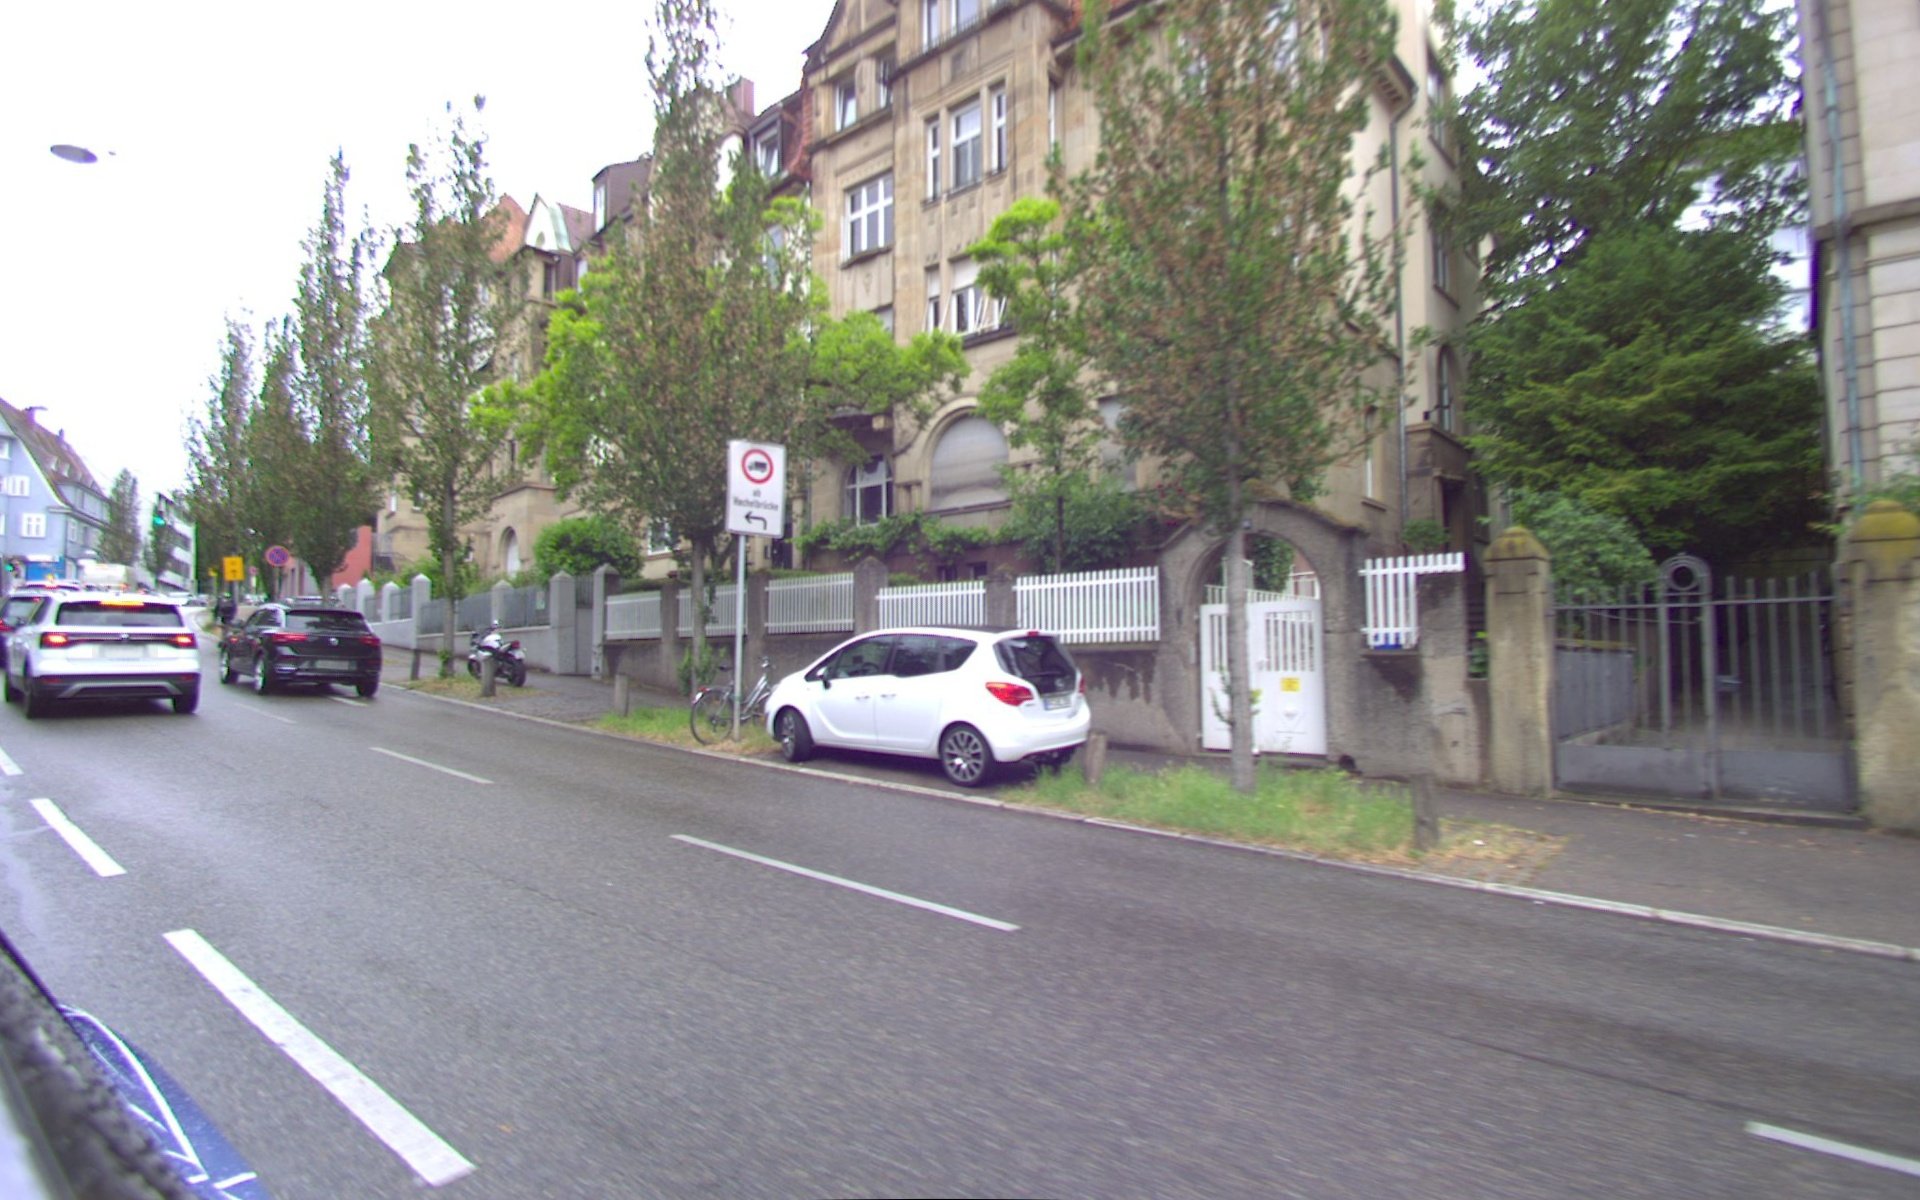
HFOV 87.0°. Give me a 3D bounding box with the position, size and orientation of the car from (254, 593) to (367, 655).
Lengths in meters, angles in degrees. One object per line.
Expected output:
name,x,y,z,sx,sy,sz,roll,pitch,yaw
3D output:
car,-18.795,0.639,29.226,1.973,1.607,3.830,-2,1,-44

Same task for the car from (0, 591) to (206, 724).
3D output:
car,-11.773,0.717,13.738,4.100,1.529,1.752,-1,-3,44

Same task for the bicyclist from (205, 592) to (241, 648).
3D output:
bicyclist,-21.055,0.566,28.915,0.648,1.568,0.992,4,-3,-44

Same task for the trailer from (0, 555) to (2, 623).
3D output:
trailer,-44.385,-0.488,45.456,1.938,3.065,2.367,1,-1,-43

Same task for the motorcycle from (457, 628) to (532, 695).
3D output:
motorcycle,-9.285,1.196,20.161,1.982,1.245,0.648,-1,-3,44

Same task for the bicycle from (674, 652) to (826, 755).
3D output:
bicycle,-2.730,1.323,13.346,0.657,1.245,1.955,0,-3,40

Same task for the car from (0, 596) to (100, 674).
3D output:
car,-18.799,0.662,20.554,1.742,1.442,3.888,3,-2,-44

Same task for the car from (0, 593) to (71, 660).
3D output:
car,-23.096,0.631,24.820,1.691,1.491,4.117,6,-5,-43

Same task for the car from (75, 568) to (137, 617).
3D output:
car,-50.244,-0.376,59.663,2.101,2.525,5.422,5,-4,-35

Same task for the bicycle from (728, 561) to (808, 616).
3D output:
bicycle,-4.748,-0.255,25.099,0.657,1.245,1.955,0,-3,40

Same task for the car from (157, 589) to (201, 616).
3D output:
car,-67.367,0.264,87.336,2.100,2.042,5.425,4,-4,-29

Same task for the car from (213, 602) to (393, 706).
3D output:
car,-11.689,0.915,17.909,3.870,1.529,1.724,2,-4,44

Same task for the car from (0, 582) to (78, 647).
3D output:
car,-27.571,0.412,30.187,1.633,1.721,4.118,6,-3,-43

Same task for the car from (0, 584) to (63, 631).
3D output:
car,-34.402,0.308,37.439,1.599,1.535,4.117,6,-5,-43

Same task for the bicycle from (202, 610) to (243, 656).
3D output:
bicycle,-21.074,0.932,28.916,0.648,1.245,1.983,4,-3,-43

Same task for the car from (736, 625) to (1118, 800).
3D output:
car,-0.505,1.109,11.569,4.297,1.571,1.724,0,-1,39
